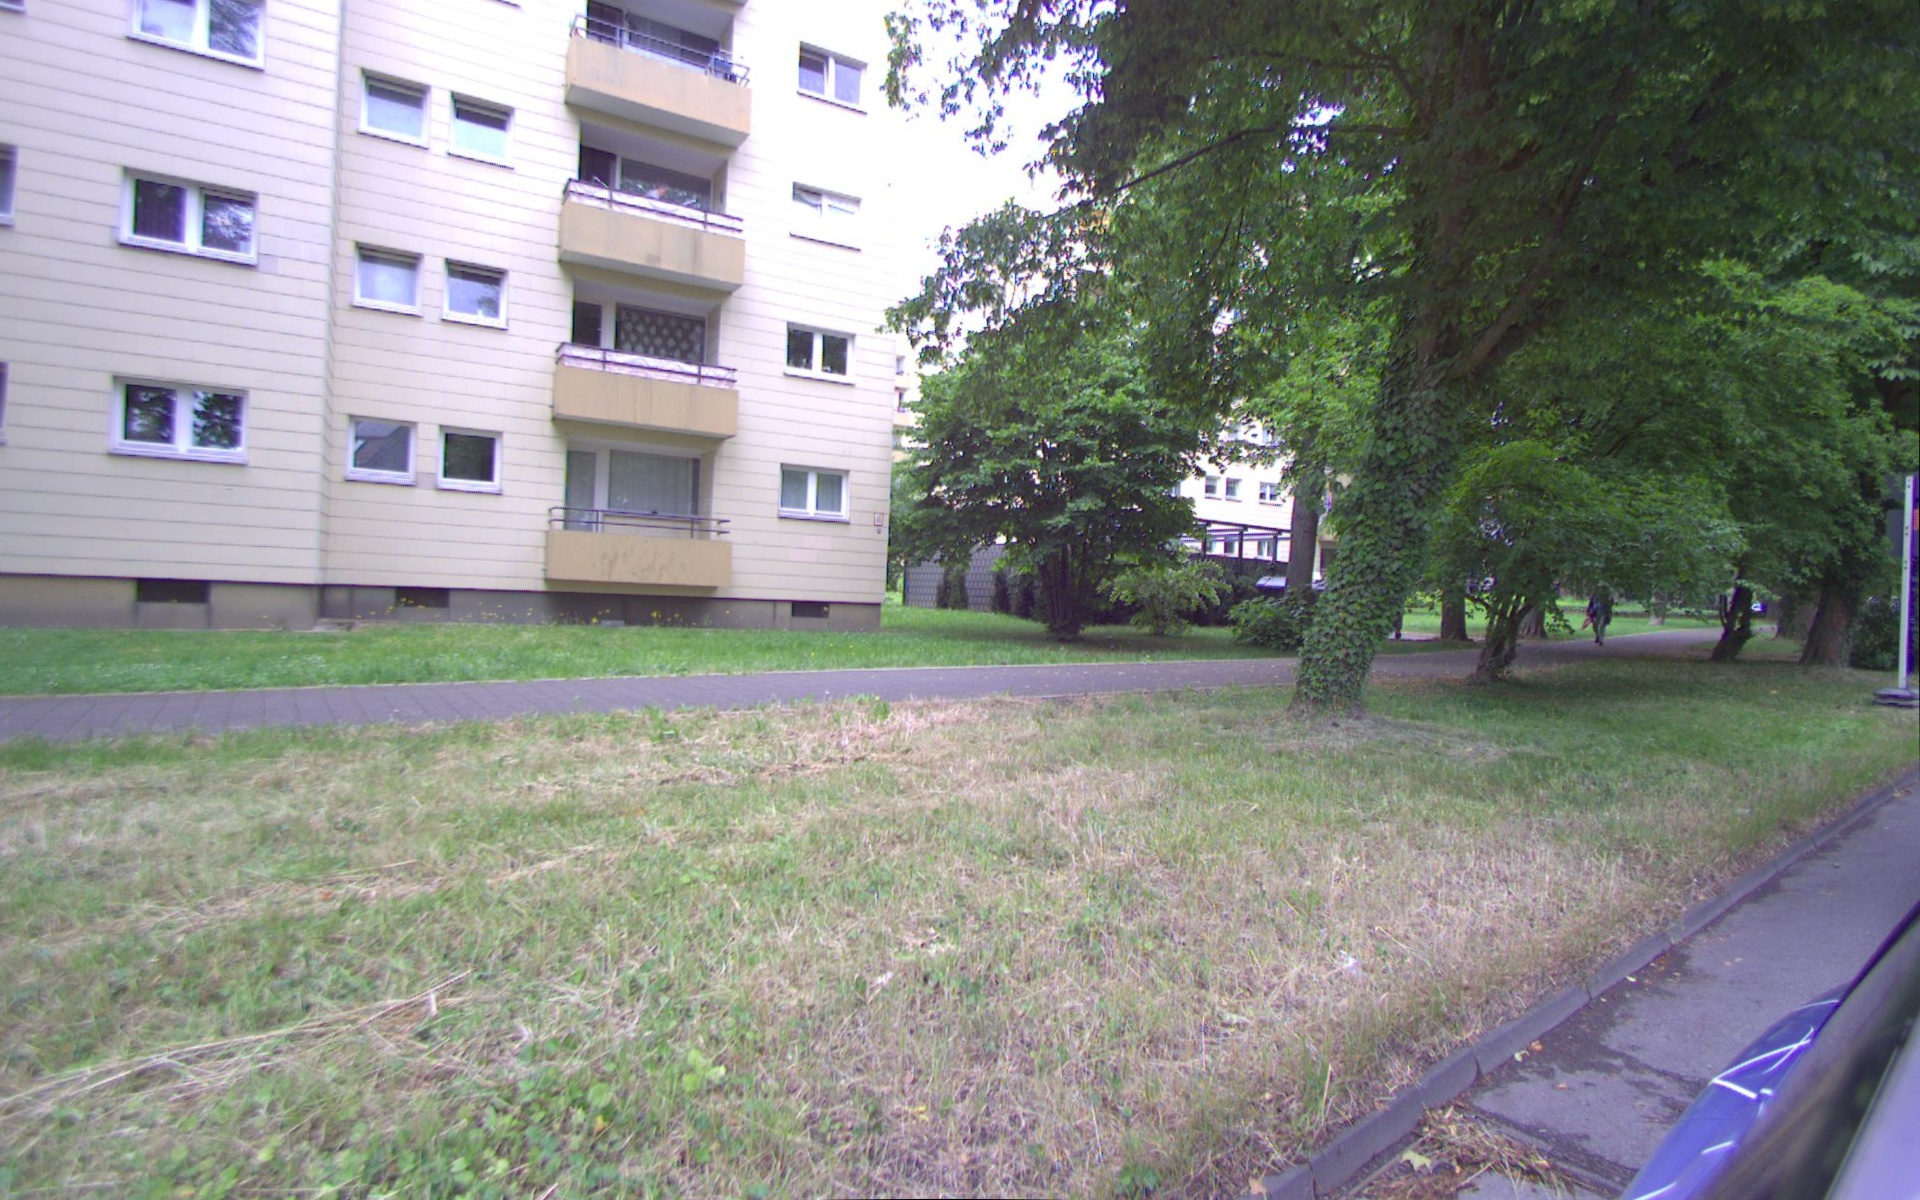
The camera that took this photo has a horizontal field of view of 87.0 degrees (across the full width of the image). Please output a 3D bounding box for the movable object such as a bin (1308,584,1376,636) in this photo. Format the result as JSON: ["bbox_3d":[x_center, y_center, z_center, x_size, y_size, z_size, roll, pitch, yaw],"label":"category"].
[{"bbox_3d":[9.665,0.237,25.578,1.190,1.236,1.328,3,2,41],"label":"movable object such as a bin"}]

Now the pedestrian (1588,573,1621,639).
[{"bbox_3d":[17.682,0.156,27.773,0.560,1.761,0.565,1,2,-41],"label":"pedestrian"}]

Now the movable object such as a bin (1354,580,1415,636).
[{"bbox_3d":[11.354,0.198,27.071,1.190,1.431,1.094,3,2,41],"label":"movable object such as a bin"}]

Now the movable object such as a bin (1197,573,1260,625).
[{"bbox_3d":[7.413,-0.038,27.922,1.190,1.358,1.328,3,2,41],"label":"movable object such as a bin"}]

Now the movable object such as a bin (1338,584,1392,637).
[{"bbox_3d":[10.553,0.258,26.352,1.022,1.320,0.946,3,2,41],"label":"movable object such as a bin"}]

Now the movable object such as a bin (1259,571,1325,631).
[{"bbox_3d":[8.676,0.021,26.450,1.190,1.475,1.328,3,2,41],"label":"movable object such as a bin"}]
